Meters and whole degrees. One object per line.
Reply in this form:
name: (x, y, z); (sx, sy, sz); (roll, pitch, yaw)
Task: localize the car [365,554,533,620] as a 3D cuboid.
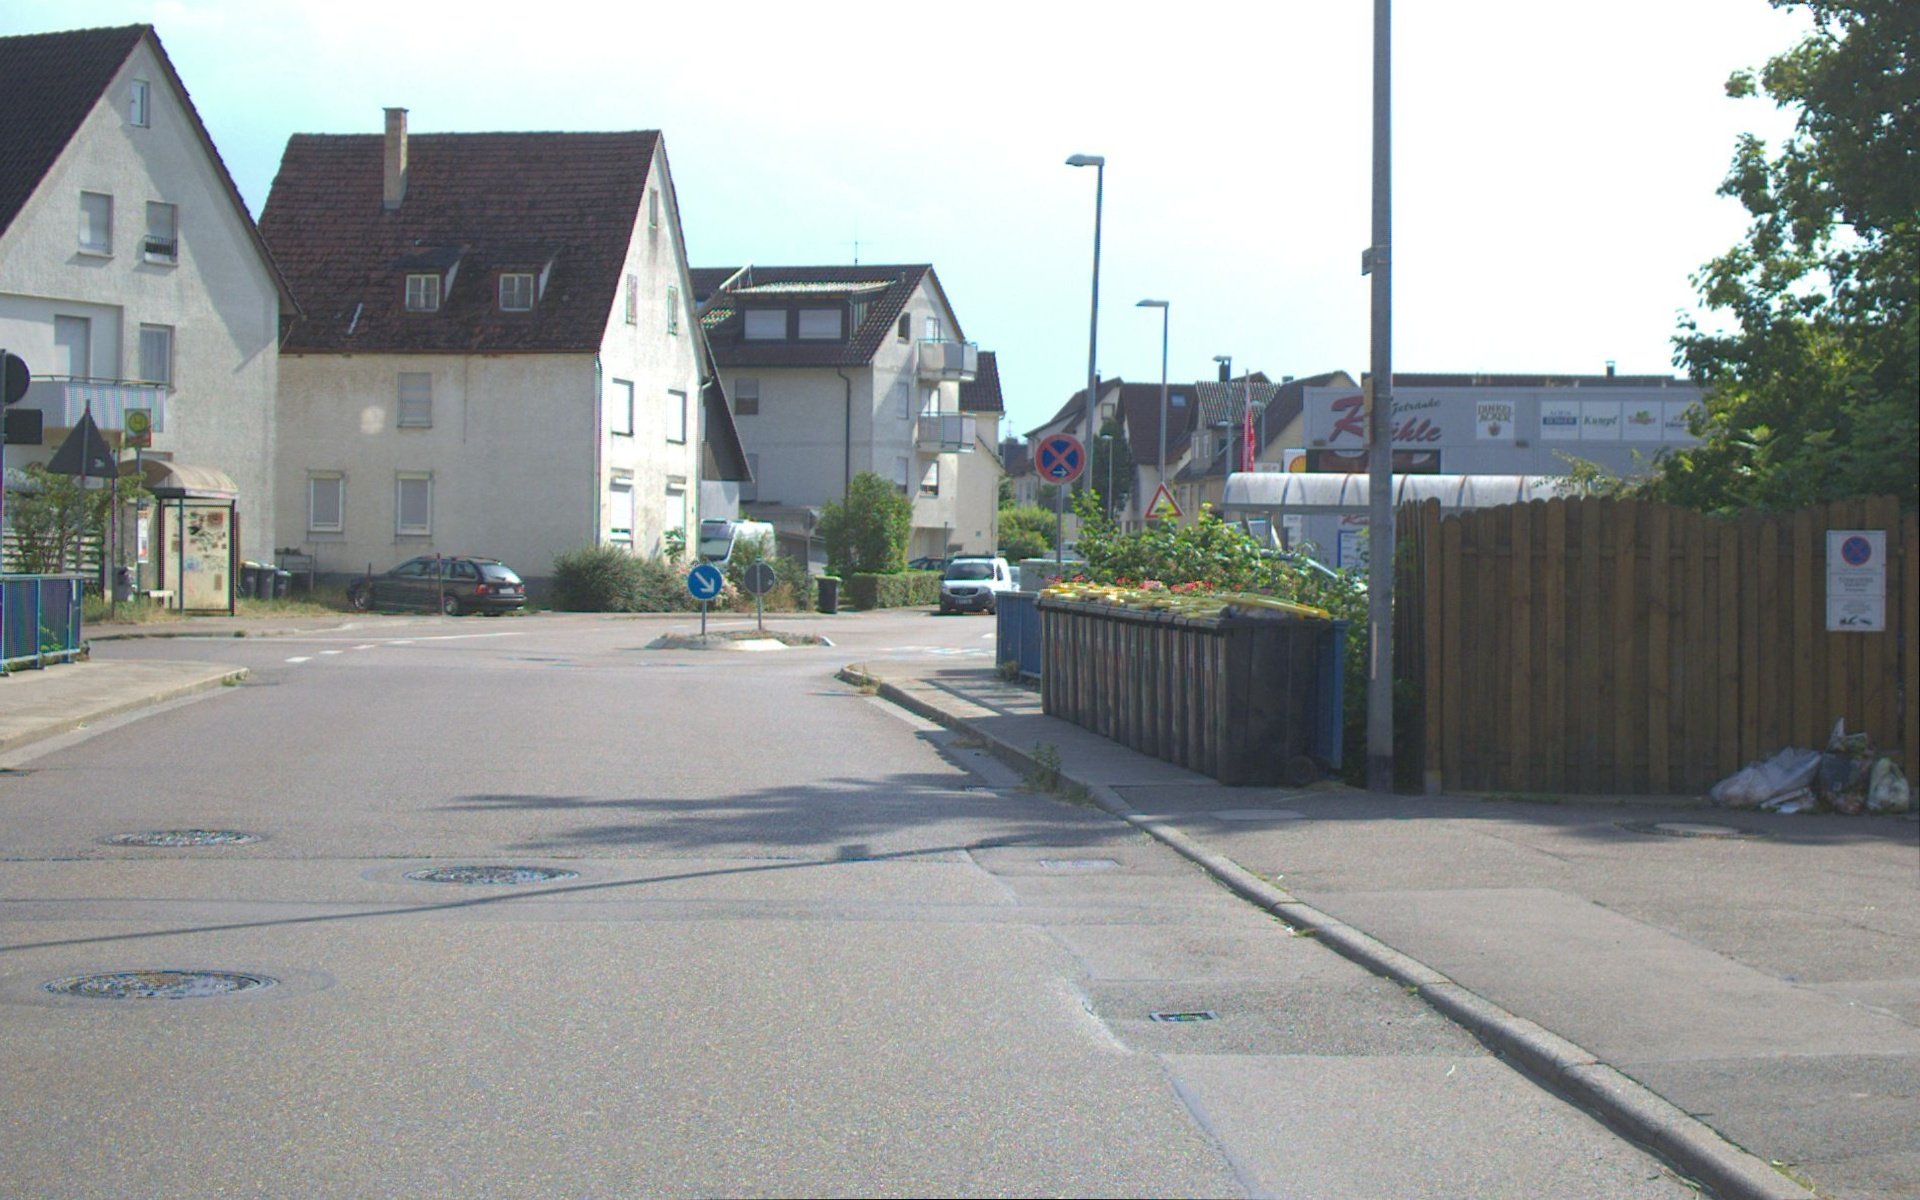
car: (-12.391, -0.317, 83.318); (3.996, 1.428, 1.649); (3, 2, 37)

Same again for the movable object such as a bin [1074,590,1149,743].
movable object such as a bin: (1.144, 0.498, 26.086); (0.478, 1.139, 0.539); (1, 1, -6)

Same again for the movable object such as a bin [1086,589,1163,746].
movable object such as a bin: (1.215, 0.494, 25.483); (0.478, 1.139, 0.565); (1, 1, -6)

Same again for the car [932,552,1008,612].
car: (0.335, -0.579, 107.815); (1.717, 1.866, 4.190); (0, 1, 10)

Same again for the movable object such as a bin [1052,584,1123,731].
movable object such as a bin: (1.011, 0.452, 27.323); (0.478, 1.139, 0.539); (1, 1, -6)

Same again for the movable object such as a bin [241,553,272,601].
movable object such as a bin: (-15.274, -0.499, 74.623); (0.361, 1.037, 0.557); (1, -1, 26)

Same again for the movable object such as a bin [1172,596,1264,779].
movable object such as a bin: (1.634, 0.550, 21.836); (0.478, 1.139, 0.543); (1, 1, -6)

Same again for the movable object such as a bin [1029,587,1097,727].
movable object such as a bin: (0.855, 0.467, 28.562); (0.478, 1.139, 0.539); (1, 1, -6)

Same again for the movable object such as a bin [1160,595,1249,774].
movable object such as a bin: (1.588, 0.544, 22.401); (0.478, 1.139, 0.539); (1, 1, -6)

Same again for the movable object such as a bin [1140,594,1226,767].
movable object such as a bin: (1.494, 0.535, 23.090); (0.478, 1.139, 0.539); (1, 1, -6)

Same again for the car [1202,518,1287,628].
car: (6.454, -0.616, 77.618); (1.836, 2.367, 5.177); (1, 1, 5)

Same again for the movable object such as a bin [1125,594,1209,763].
movable object such as a bin: (1.423, 0.537, 23.703); (0.478, 1.139, 0.539); (1, 1, -6)

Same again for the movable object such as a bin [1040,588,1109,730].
movable object such as a bin: (0.930, 0.474, 27.964); (0.478, 1.139, 0.539); (1, 1, -6)

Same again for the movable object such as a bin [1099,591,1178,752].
movable object such as a bin: (1.290, 0.513, 24.868); (0.478, 1.139, 0.539); (1, 1, -6)

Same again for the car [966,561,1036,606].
car: (1.361, -0.549, 112.172); (1.673, 1.446, 3.833); (1, 1, 10)

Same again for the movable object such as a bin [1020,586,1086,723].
movable object such as a bin: (0.782, 0.460, 29.135); (0.478, 1.139, 0.539); (1, 1, -6)

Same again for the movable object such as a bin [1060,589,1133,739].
movable object such as a bin: (1.061, 0.490, 26.701); (0.478, 1.139, 0.539); (1, 1, -6)

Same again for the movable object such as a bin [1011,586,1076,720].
movable object such as a bin: (0.716, 0.452, 29.713); (0.478, 1.139, 0.539); (1, 1, -6)

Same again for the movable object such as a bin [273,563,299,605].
movable object such as a bin: (-14.844, -0.350, 75.700); (0.361, 0.922, 0.399); (1, -1, 26)

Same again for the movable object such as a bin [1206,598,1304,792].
movable object such as a bin: (1.774, 0.564, 20.717); (0.478, 1.139, 0.539); (1, 1, -6)

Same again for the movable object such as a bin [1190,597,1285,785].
movable object such as a bin: (1.712, 0.558, 21.276); (0.478, 1.139, 0.539); (1, 1, -6)

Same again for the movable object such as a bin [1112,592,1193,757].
movable object such as a bin: (1.357, 0.520, 24.278); (0.478, 1.139, 0.539); (1, 1, -6)

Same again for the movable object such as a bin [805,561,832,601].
movable object such as a bin: (-4.005, -0.533, 97.243); (0.611, 1.097, 0.575); (2, 0, 10)
